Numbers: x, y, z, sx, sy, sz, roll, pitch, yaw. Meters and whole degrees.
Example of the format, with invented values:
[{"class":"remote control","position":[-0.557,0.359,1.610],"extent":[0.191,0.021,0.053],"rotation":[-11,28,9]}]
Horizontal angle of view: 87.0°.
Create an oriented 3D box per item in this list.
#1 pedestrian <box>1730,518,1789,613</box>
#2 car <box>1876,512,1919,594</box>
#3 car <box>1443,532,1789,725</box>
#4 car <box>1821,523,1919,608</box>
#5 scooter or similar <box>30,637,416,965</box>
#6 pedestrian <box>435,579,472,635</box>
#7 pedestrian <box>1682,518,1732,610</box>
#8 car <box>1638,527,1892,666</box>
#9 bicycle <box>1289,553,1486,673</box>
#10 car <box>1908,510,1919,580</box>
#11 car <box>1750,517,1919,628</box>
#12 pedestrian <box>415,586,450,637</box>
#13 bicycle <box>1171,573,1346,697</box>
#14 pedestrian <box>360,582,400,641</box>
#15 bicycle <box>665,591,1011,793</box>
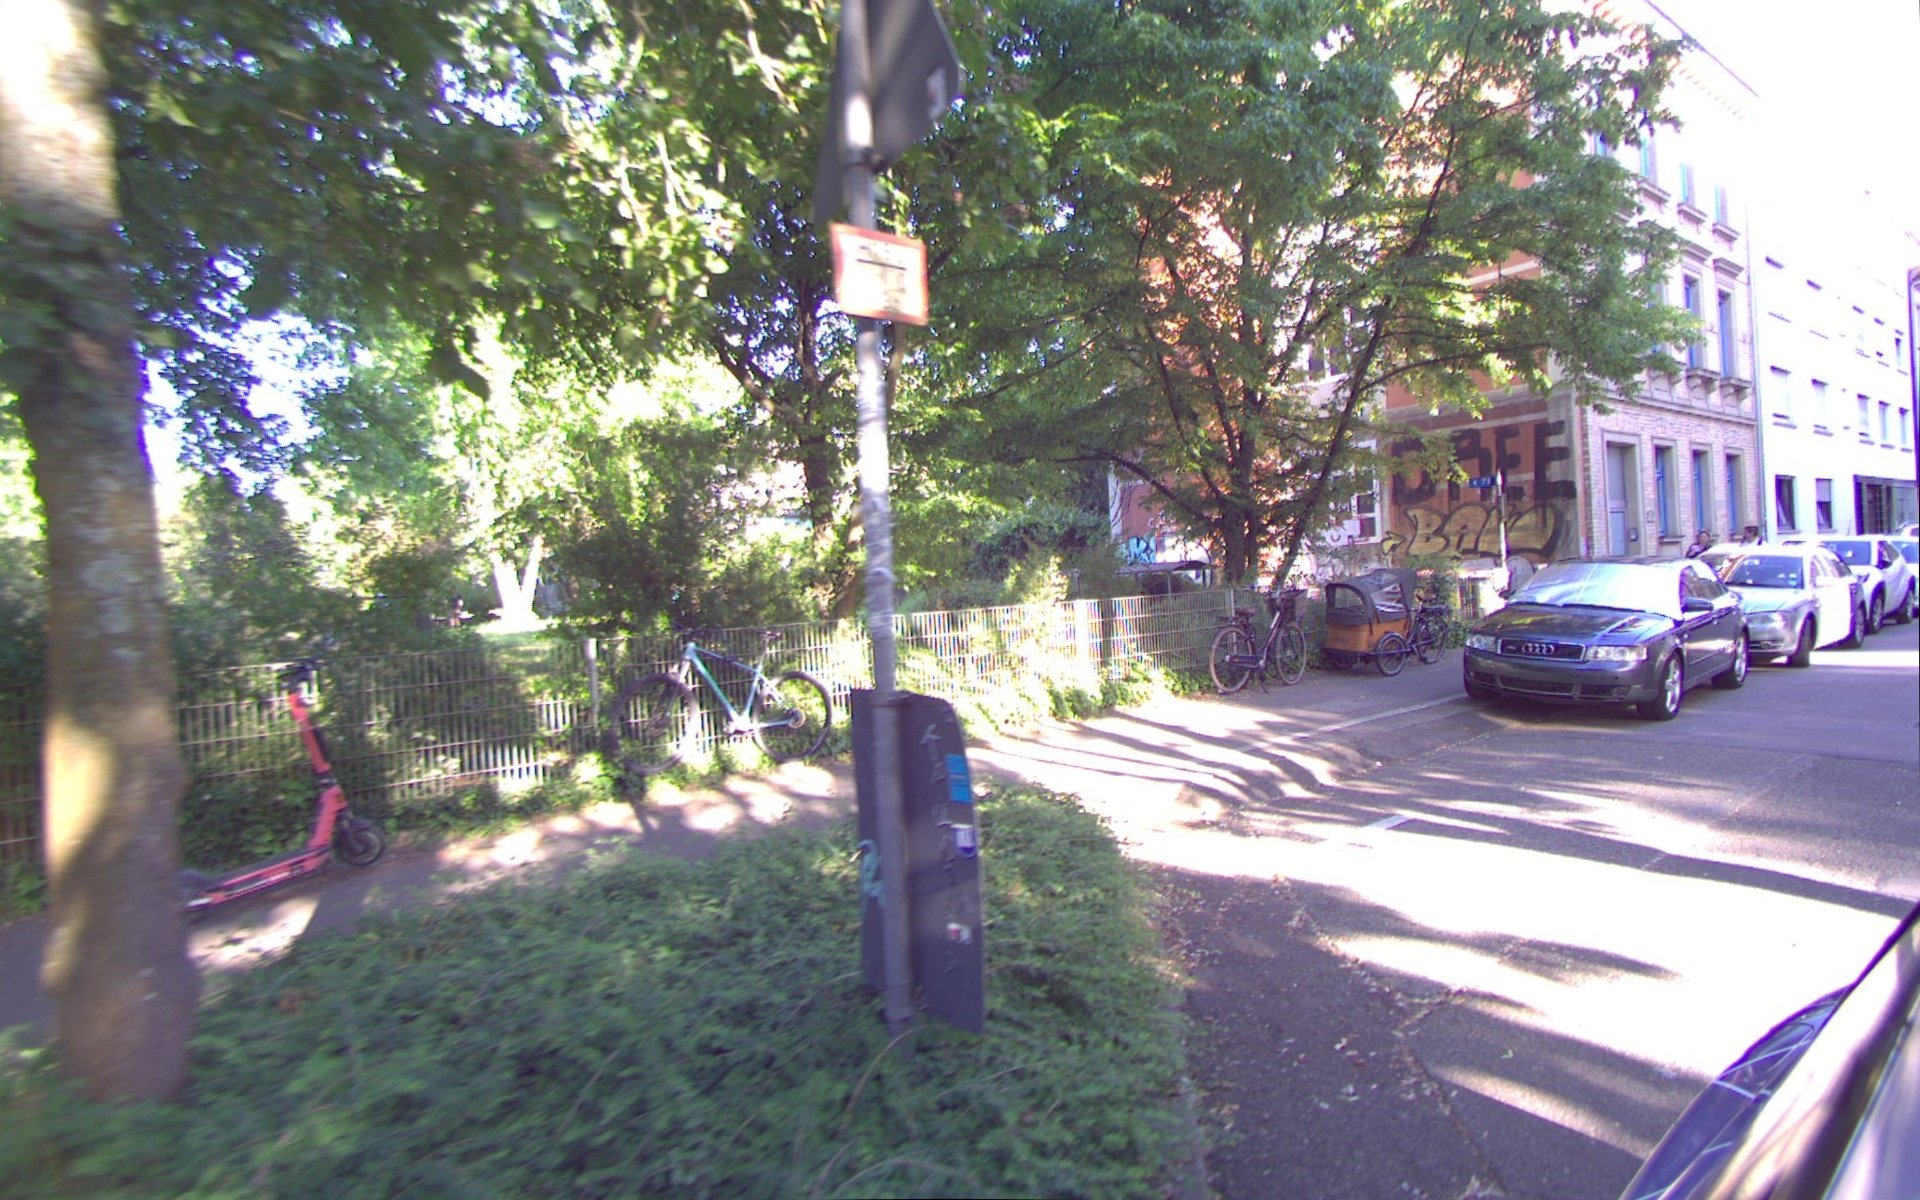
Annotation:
[{"class":"pedestrian","position":[15.029,-0.660,19.024],"extent":[0.739,1.729,0.712],"rotation":[-4,4,-38]},{"class":"car","position":[21.728,-1.105,22.064],"extent":[4.249,1.687,1.771],"rotation":[-4,2,-36]},{"class":"car","position":[6.877,0.148,10.419],"extent":[4.337,1.512,1.724],"rotation":[-4,3,-39]},{"class":"car","position":[17.880,-0.711,19.293],"extent":[3.934,1.468,1.596],"rotation":[-5,3,-40]},{"class":"scooter or similar","position":[-3.591,0.889,5.087],"extent":[0.539,1.277,1.463],"rotation":[-2,2,21]},{"class":"pedestrian","position":[-19.123,0.253,38.225],"extent":[0.897,2.038,0.748],"rotation":[-3,1,9]},{"class":"pedestrian","position":[14.447,-0.702,19.575],"extent":[0.694,1.729,0.599],"rotation":[-4,4,-38]},{"class":"car","position":[10.769,-0.137,13.435],"extent":[4.275,1.512,1.663],"rotation":[-4,3,-38]},{"class":"bicycle","position":[5.480,0.114,12.939],"extent":[2.283,1.317,1.295],"rotation":[-4,3,-35]},{"class":"car","position":[25.536,-1.459,25.418],"extent":[4.251,1.686,1.886],"rotation":[-5,4,-38]},{"class":"car","position":[14.573,-0.501,16.666],"extent":[3.697,1.604,1.597],"rotation":[-4,2,-38]},{"class":"pedestrian","position":[-21.606,0.468,41.483],"extent":[0.897,2.038,0.748],"rotation":[-3,1,9]},{"class":"bicycle","position":[3.386,0.350,11.417],"extent":[1.945,1.215,0.849],"rotation":[-4,1,-36]},{"class":"pedestrian","position":[-20.965,0.403,36.579],"extent":[0.897,2.038,0.748],"rotation":[-3,1,9]},{"class":"bicycle","position":[-0.909,0.640,8.163],"extent":[2.642,1.283,0.849],"rotation":[-4,1,-36]}]
